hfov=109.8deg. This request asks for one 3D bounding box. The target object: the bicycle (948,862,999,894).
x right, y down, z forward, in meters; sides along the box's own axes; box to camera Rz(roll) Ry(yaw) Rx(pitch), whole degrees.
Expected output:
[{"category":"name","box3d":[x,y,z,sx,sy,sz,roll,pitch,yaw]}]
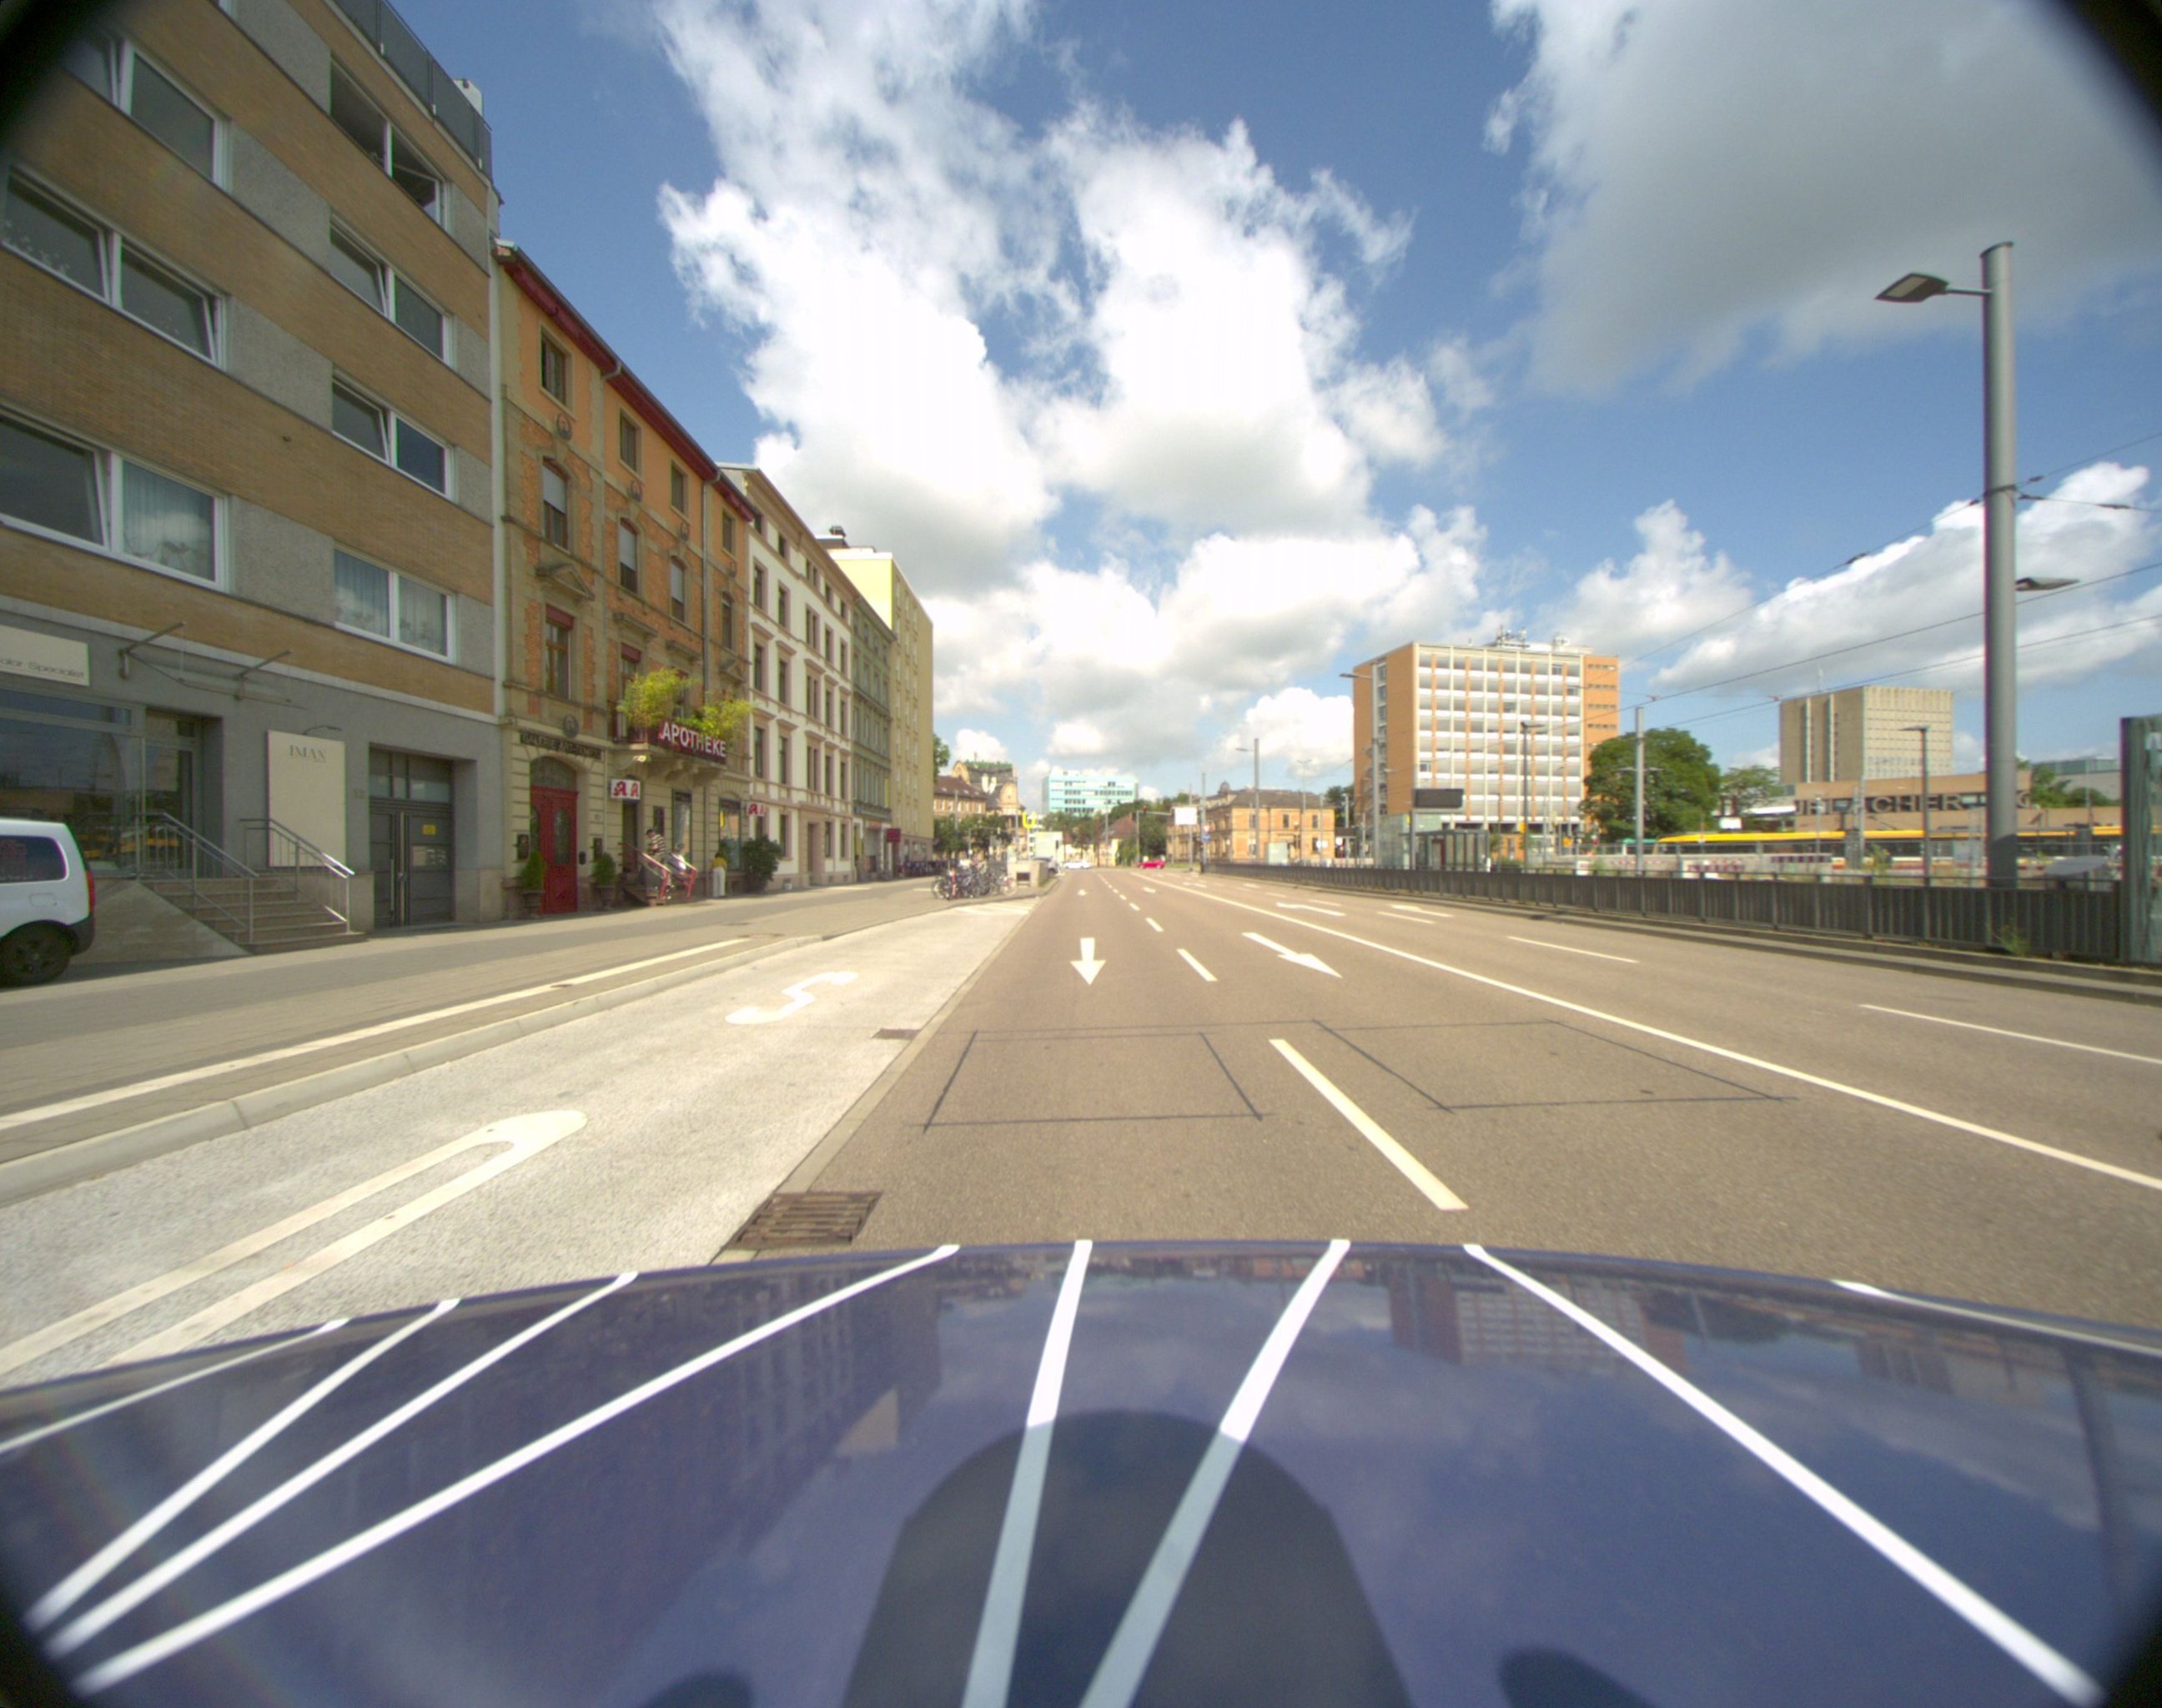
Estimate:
[{"category":"bicycle","box3d":[-4.211,0.959,29.888,1.928,1.230,0.441,-1,-2,2]}]

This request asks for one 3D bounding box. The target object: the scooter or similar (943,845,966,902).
[{"category":"scooter or similar","box3d":[-4.075,0.613,24.527,0.398,1.776,1.538,0,0,4]}]

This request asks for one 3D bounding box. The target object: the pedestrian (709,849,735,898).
[{"category":"pedestrian","box3d":[-12.366,0.677,26.167,0.580,1.687,0.612,-1,-2,1]}]

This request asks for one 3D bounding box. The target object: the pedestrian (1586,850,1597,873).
[{"category":"pedestrian","box3d":[39.069,0.565,58.166,0.561,1.783,0.722,0,0,43]}]

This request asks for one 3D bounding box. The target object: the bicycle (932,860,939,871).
[{"category":"bicycle","box3d":[-12.085,0.948,63.191,0.293,0.917,1.464,0,0,1]}]

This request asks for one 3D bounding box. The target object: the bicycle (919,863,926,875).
[{"category":"bicycle","box3d":[-12.231,1.126,58.511,0.293,0.917,1.464,0,-1,-2]}]

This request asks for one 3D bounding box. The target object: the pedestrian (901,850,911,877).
[{"category":"pedestrian","box3d":[-12.758,0.690,55.323,0.603,2.001,0.460,-1,-2,0]}]

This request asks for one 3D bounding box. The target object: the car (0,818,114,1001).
[{"category":"car","box3d":[-11.771,0.577,6.159,1.999,1.851,4.750,0,1,-5]}]

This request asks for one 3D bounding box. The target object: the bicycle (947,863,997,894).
[{"category":"bicycle","box3d":[-4.375,0.983,30.444,1.928,1.230,0.441,-1,-2,2]}]

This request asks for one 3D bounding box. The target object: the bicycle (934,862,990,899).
[{"category":"bicycle","box3d":[-4.129,0.921,26.433,1.930,1.230,0.441,0,-2,-8]}]

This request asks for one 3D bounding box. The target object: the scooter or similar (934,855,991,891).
[{"category":"scooter or similar","box3d":[-5.186,0.852,33.333,2.329,1.536,0.698,-1,-2,6]}]

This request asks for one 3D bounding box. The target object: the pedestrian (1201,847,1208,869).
[{"category":"pedestrian","box3d":[11.490,0.363,70.878,0.503,2.002,0.515,0,0,-12]}]

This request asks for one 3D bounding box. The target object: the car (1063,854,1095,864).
[{"category":"car","box3d":[-0.318,0.861,119.650,4.664,1.420,1.766,-1,-2,20]}]

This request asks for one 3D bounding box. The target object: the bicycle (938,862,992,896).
[{"category":"bicycle","box3d":[-4.284,0.934,28.101,1.931,1.230,0.441,0,-2,-10]}]

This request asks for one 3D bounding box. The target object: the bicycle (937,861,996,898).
[{"category":"bicycle","box3d":[-3.894,0.880,25.831,1.985,1.230,0.441,0,-2,-11]}]

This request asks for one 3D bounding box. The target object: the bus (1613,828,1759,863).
[{"category":"bus","box3d":[64.991,-0.859,81.952,12.355,3.599,2.919,0,0,12]}]

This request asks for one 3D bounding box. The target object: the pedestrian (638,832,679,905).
[{"category":"pedestrian","box3d":[-12.286,0.430,22.116,0.723,2.086,0.786,-1,-2,0]}]

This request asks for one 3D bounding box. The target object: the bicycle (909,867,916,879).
[{"category":"bicycle","box3d":[-13.004,1.495,58.699,0.293,0.917,1.464,0,-1,-2]}]

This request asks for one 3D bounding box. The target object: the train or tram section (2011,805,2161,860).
[{"category":"train or tram section","box3d":[72.632,-1.501,52.233,10.580,3.459,3.332,-3,-3,44]}]

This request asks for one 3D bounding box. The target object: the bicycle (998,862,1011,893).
[{"category":"bicycle","box3d":[-3.137,0.960,31.180,0.441,1.230,1.930,0,-2,-8]}]

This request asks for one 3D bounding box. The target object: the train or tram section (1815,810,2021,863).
[{"category":"train or tram section","box3d":[64.965,-1.225,59.594,10.580,3.459,3.332,-3,-3,44]}]

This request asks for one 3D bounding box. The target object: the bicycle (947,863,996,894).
[{"category":"bicycle","box3d":[-4.473,1.002,31.122,1.928,1.230,0.441,-1,-2,2]}]

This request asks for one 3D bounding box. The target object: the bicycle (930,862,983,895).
[{"category":"bicycle","box3d":[-4.747,0.942,28.969,1.931,1.230,0.441,0,-2,-13]}]

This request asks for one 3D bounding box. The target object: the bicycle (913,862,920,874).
[{"category":"bicycle","box3d":[-12.688,1.116,58.711,0.293,0.917,1.464,0,-2,-2]}]

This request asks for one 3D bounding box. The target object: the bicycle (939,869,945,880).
[{"category":"bicycle","box3d":[-12.542,1.834,68.465,0.293,0.878,1.464,0,1,-2]}]

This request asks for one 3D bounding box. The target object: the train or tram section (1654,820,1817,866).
[{"category":"train or tram section","box3d":[57.339,-0.837,66.900,10.580,3.459,3.332,-3,-3,44]}]

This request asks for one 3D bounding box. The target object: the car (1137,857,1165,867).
[{"category":"car","box3d":[10.751,1.206,116.239,4.057,1.458,1.649,-1,-2,14]}]

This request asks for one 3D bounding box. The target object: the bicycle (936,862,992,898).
[{"category":"bicycle","box3d":[-4.152,0.928,26.964,1.930,1.230,0.441,0,-2,-5]}]

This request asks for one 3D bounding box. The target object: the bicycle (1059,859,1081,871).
[{"category":"bicycle","box3d":[-1.061,1.023,72.214,2.098,1.099,0.544,-1,-2,3]}]

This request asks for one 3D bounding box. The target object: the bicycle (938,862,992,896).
[{"category":"bicycle","box3d":[-4.213,0.908,27.542,1.931,1.230,0.441,0,-2,-10]}]

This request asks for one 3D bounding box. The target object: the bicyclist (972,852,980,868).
[{"category":"bicyclist","box3d":[-9.288,0.543,67.265,0.655,1.429,0.743,0,0,0]}]

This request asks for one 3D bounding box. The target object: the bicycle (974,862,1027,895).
[{"category":"bicycle","box3d":[-3.055,0.942,28.852,1.931,1.230,0.441,0,-2,-12]}]

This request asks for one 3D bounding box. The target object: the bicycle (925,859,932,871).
[{"category":"bicycle","box3d":[-12.235,0.888,61.093,0.293,0.917,1.464,0,-2,-2]}]

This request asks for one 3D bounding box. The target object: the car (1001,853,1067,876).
[{"category":"car","box3d":[-3.466,0.764,56.561,4.606,1.637,2.056,0,0,-42]}]

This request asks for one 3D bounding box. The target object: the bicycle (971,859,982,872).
[{"category":"bicycle","box3d":[-9.259,1.032,67.216,0.663,1.114,2.332,0,0,0]}]
